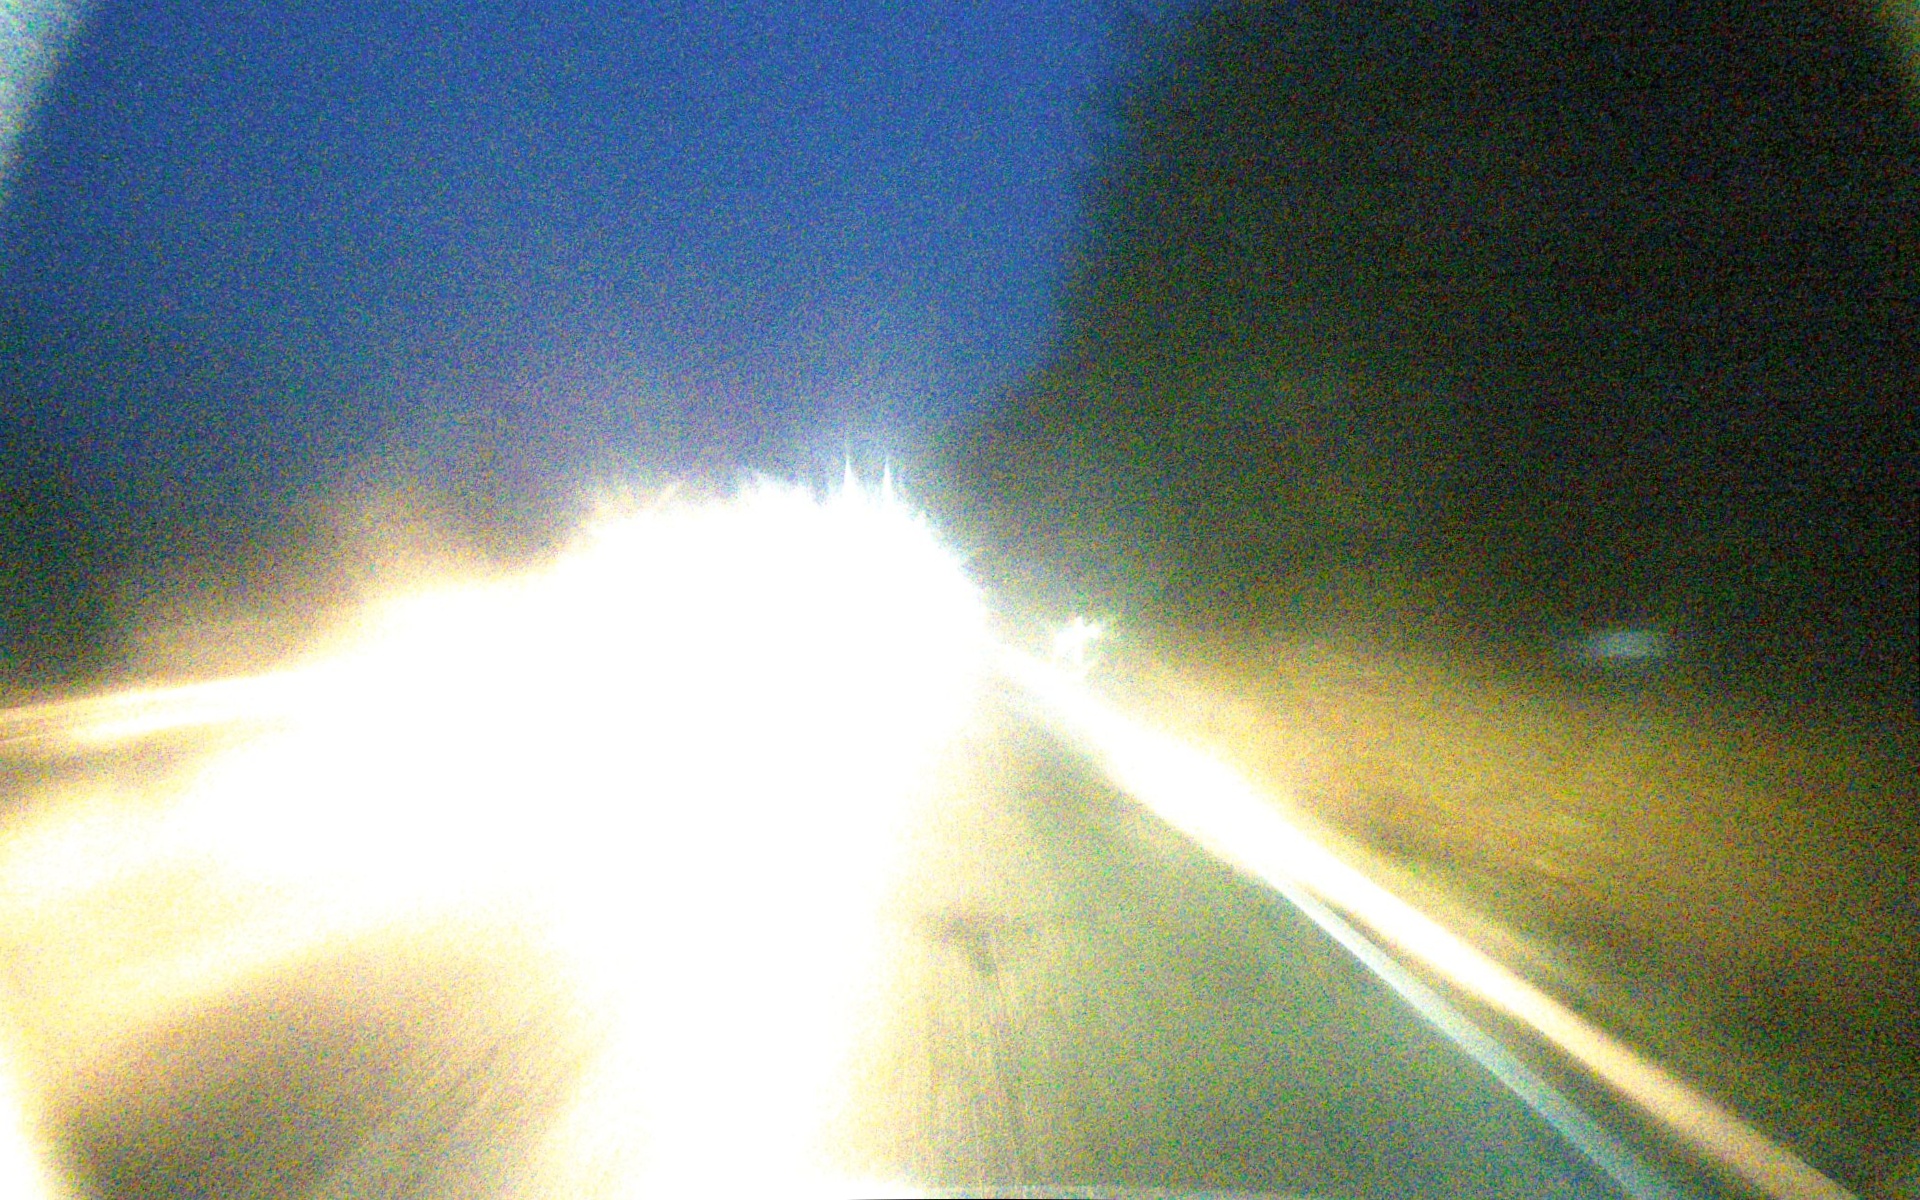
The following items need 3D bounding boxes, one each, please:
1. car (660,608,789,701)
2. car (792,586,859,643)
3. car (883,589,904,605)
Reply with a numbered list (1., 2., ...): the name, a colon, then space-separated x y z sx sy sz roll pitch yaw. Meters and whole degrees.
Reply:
1. car: -4.165 0.923 29.831 1.806 1.506 4.247 1 0 -2
2. car: -4.511 0.474 56.156 1.953 1.824 4.245 1 0 -1
3. car: -6.475 -0.282 162.195 1.953 1.473 4.428 1 0 -1
